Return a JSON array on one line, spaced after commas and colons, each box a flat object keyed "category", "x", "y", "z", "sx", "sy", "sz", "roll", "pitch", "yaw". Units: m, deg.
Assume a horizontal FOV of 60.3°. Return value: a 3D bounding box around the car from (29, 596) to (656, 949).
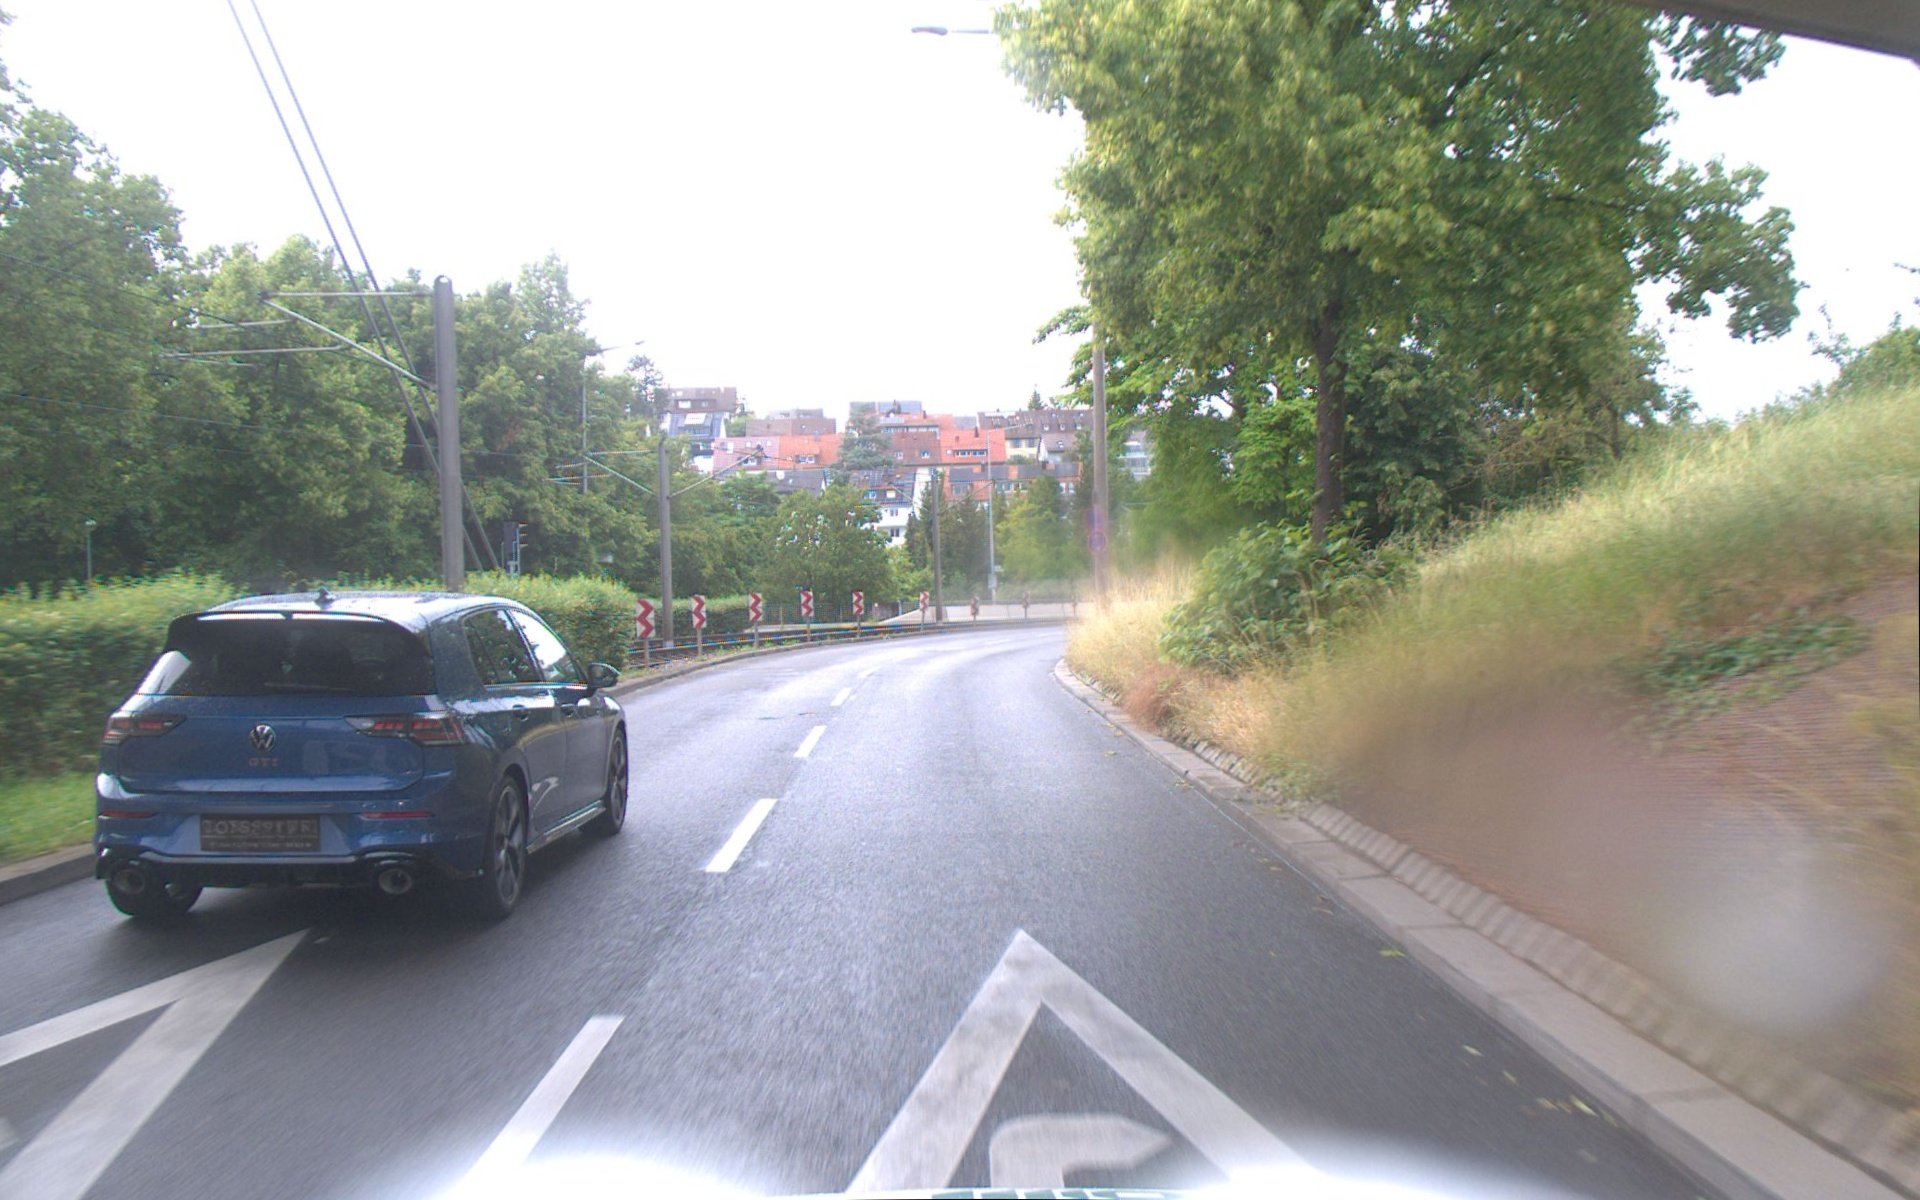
[{"category": "car", "x": -2.861, "y": 0.680, "z": 8.781, "sx": 1.771, "sy": 1.402, "sz": 4.346, "roll": 0, "pitch": 0, "yaw": -1}]
